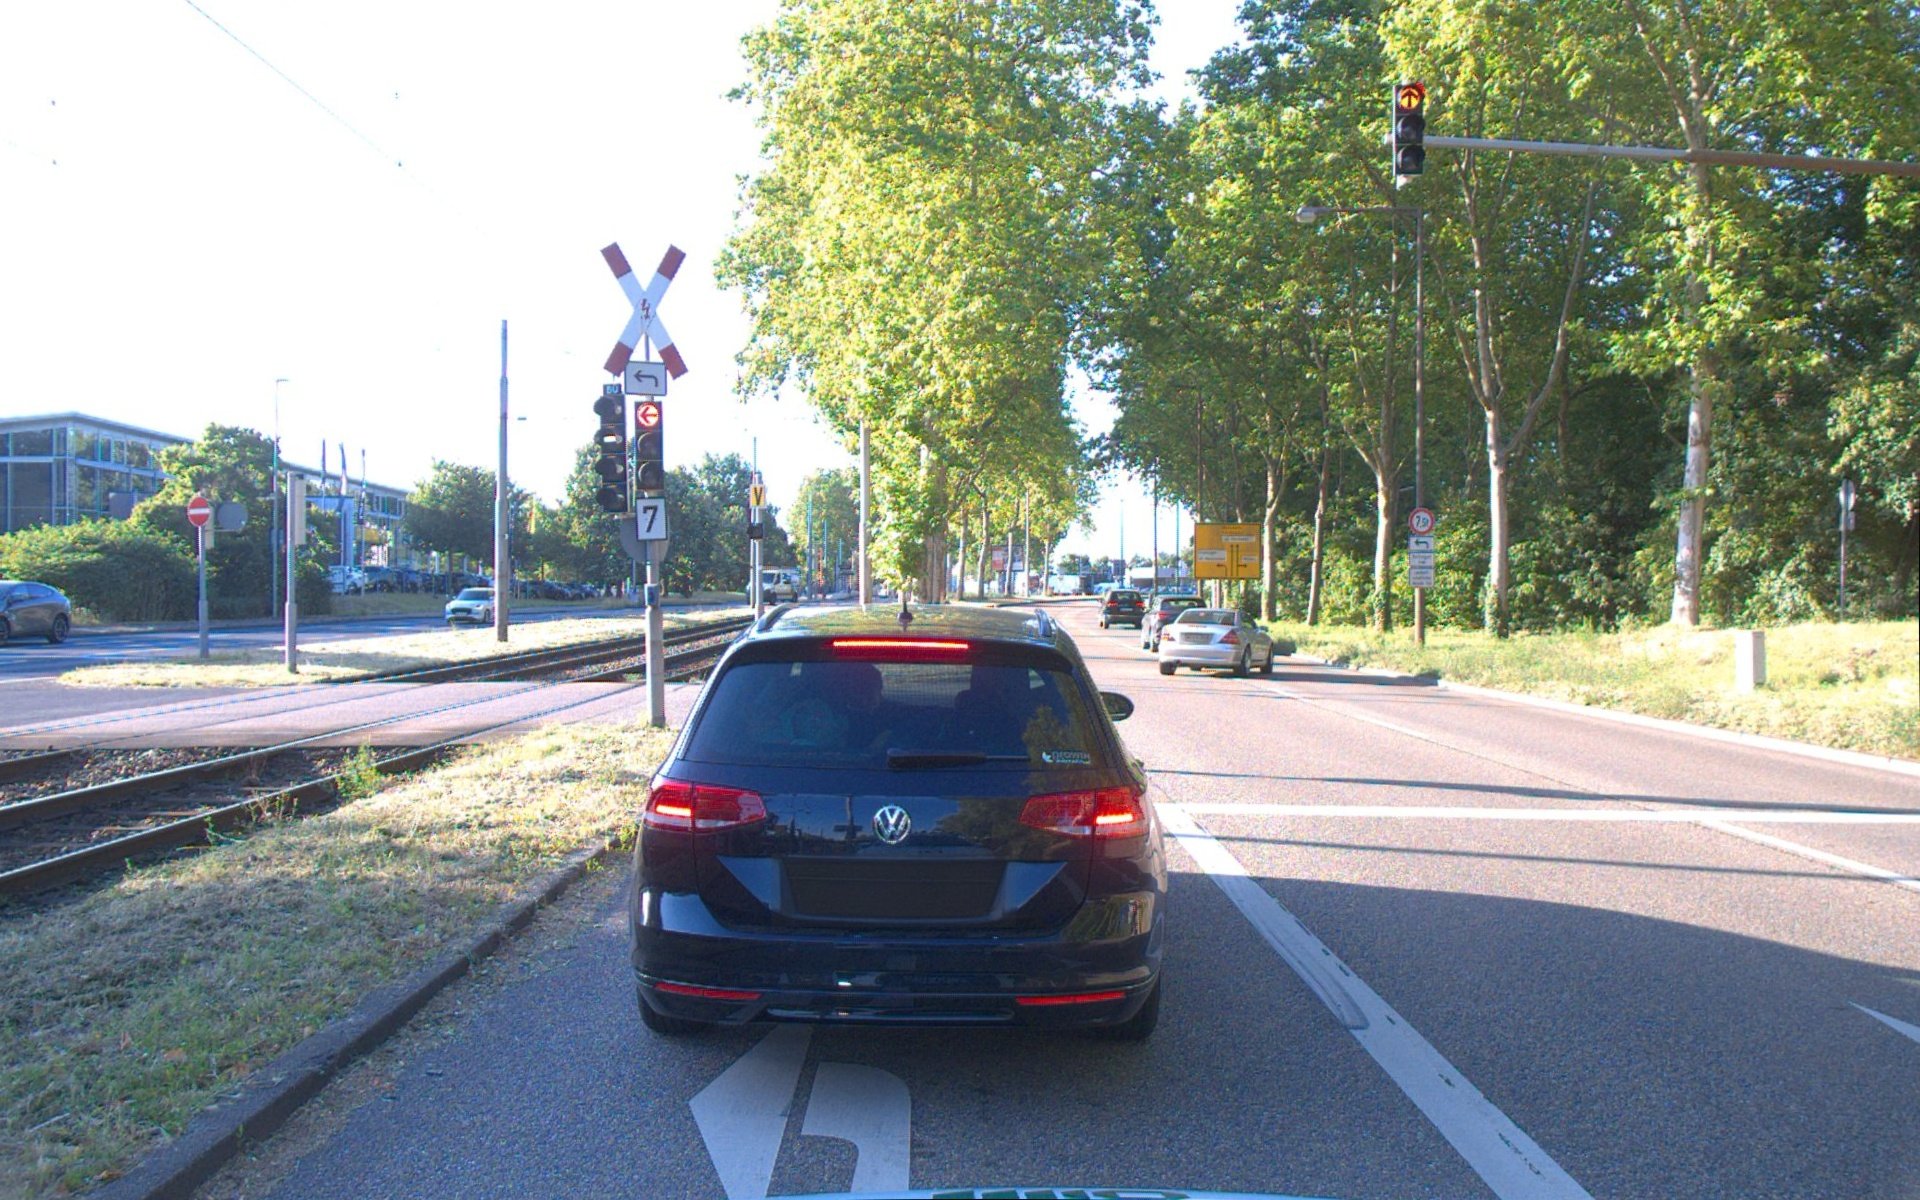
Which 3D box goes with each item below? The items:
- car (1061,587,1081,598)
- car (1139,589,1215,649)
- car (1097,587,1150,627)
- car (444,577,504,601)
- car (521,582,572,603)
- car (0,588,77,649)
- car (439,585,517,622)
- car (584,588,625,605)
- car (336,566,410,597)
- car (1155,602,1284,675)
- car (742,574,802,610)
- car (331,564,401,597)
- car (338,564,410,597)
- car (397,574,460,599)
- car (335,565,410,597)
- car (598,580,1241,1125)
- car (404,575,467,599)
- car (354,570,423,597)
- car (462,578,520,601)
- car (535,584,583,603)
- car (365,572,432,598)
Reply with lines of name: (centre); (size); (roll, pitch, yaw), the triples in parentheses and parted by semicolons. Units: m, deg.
car: (14.998, -1.006, 223.813); (1.956, 1.445, 3.994); (1, 0, -7)
car: (6.033, 0.501, 46.297); (1.672, 1.588, 4.167); (0, 0, 2)
car: (6.959, 0.305, 70.662); (1.834, 1.663, 4.370); (0, 0, 0)
car: (-35.580, -0.813, 121.247); (3.909, 1.649, 1.742); (1, 0, -6)
car: (-34.561, -0.624, 138.220); (3.909, 1.649, 1.742); (1, 0, -6)
car: (-25.227, 0.455, 43.369); (1.823, 1.507, 4.172); (1, 1, 1)
car: (-20.823, 0.135, 71.663); (1.822, 1.507, 4.094); (1, 1, 6)
car: (-35.976, -0.343, 167.427); (3.909, 1.583, 1.742); (1, 0, -5)
car: (-33.701, -1.057, 94.946); (3.930, 1.734, 1.732); (1, 0, -22)
car: (5.156, 0.714, 32.537); (1.576, 1.317, 3.981); (1, 0, 23)
car: (-13.363, -0.567, 117.865); (2.051, 2.504, 5.856); (1, 1, 17)
car: (-35.557, -1.153, 99.009); (3.930, 1.848, 1.732); (1, 0, -22)
car: (-34.450, -1.121, 97.271); (3.930, 1.848, 1.732); (1, 0, -22)
car: (-35.716, -0.889, 111.097); (3.930, 1.583, 1.732); (1, 0, -22)
car: (-32.918, -1.048, 92.707); (3.930, 1.734, 1.732); (1, 0, -22)
car: (-0.144, 0.699, 6.385); (1.758, 1.490, 3.582); (1, 0, -1)
car: (-36.048, -0.869, 113.792); (3.913, 1.583, 1.740); (1, 0, -9)
car: (-35.210, -0.982, 101.924); (3.930, 1.583, 1.732); (1, 0, -22)
car: (-35.250, -0.772, 124.463); (3.909, 1.649, 1.742); (1, 0, -6)
car: (-35.231, -0.566, 145.365); (3.909, 1.649, 1.742); (1, 0, -6)
car: (-35.551, -0.955, 104.703); (3.930, 1.583, 1.732); (1, 0, -22)
